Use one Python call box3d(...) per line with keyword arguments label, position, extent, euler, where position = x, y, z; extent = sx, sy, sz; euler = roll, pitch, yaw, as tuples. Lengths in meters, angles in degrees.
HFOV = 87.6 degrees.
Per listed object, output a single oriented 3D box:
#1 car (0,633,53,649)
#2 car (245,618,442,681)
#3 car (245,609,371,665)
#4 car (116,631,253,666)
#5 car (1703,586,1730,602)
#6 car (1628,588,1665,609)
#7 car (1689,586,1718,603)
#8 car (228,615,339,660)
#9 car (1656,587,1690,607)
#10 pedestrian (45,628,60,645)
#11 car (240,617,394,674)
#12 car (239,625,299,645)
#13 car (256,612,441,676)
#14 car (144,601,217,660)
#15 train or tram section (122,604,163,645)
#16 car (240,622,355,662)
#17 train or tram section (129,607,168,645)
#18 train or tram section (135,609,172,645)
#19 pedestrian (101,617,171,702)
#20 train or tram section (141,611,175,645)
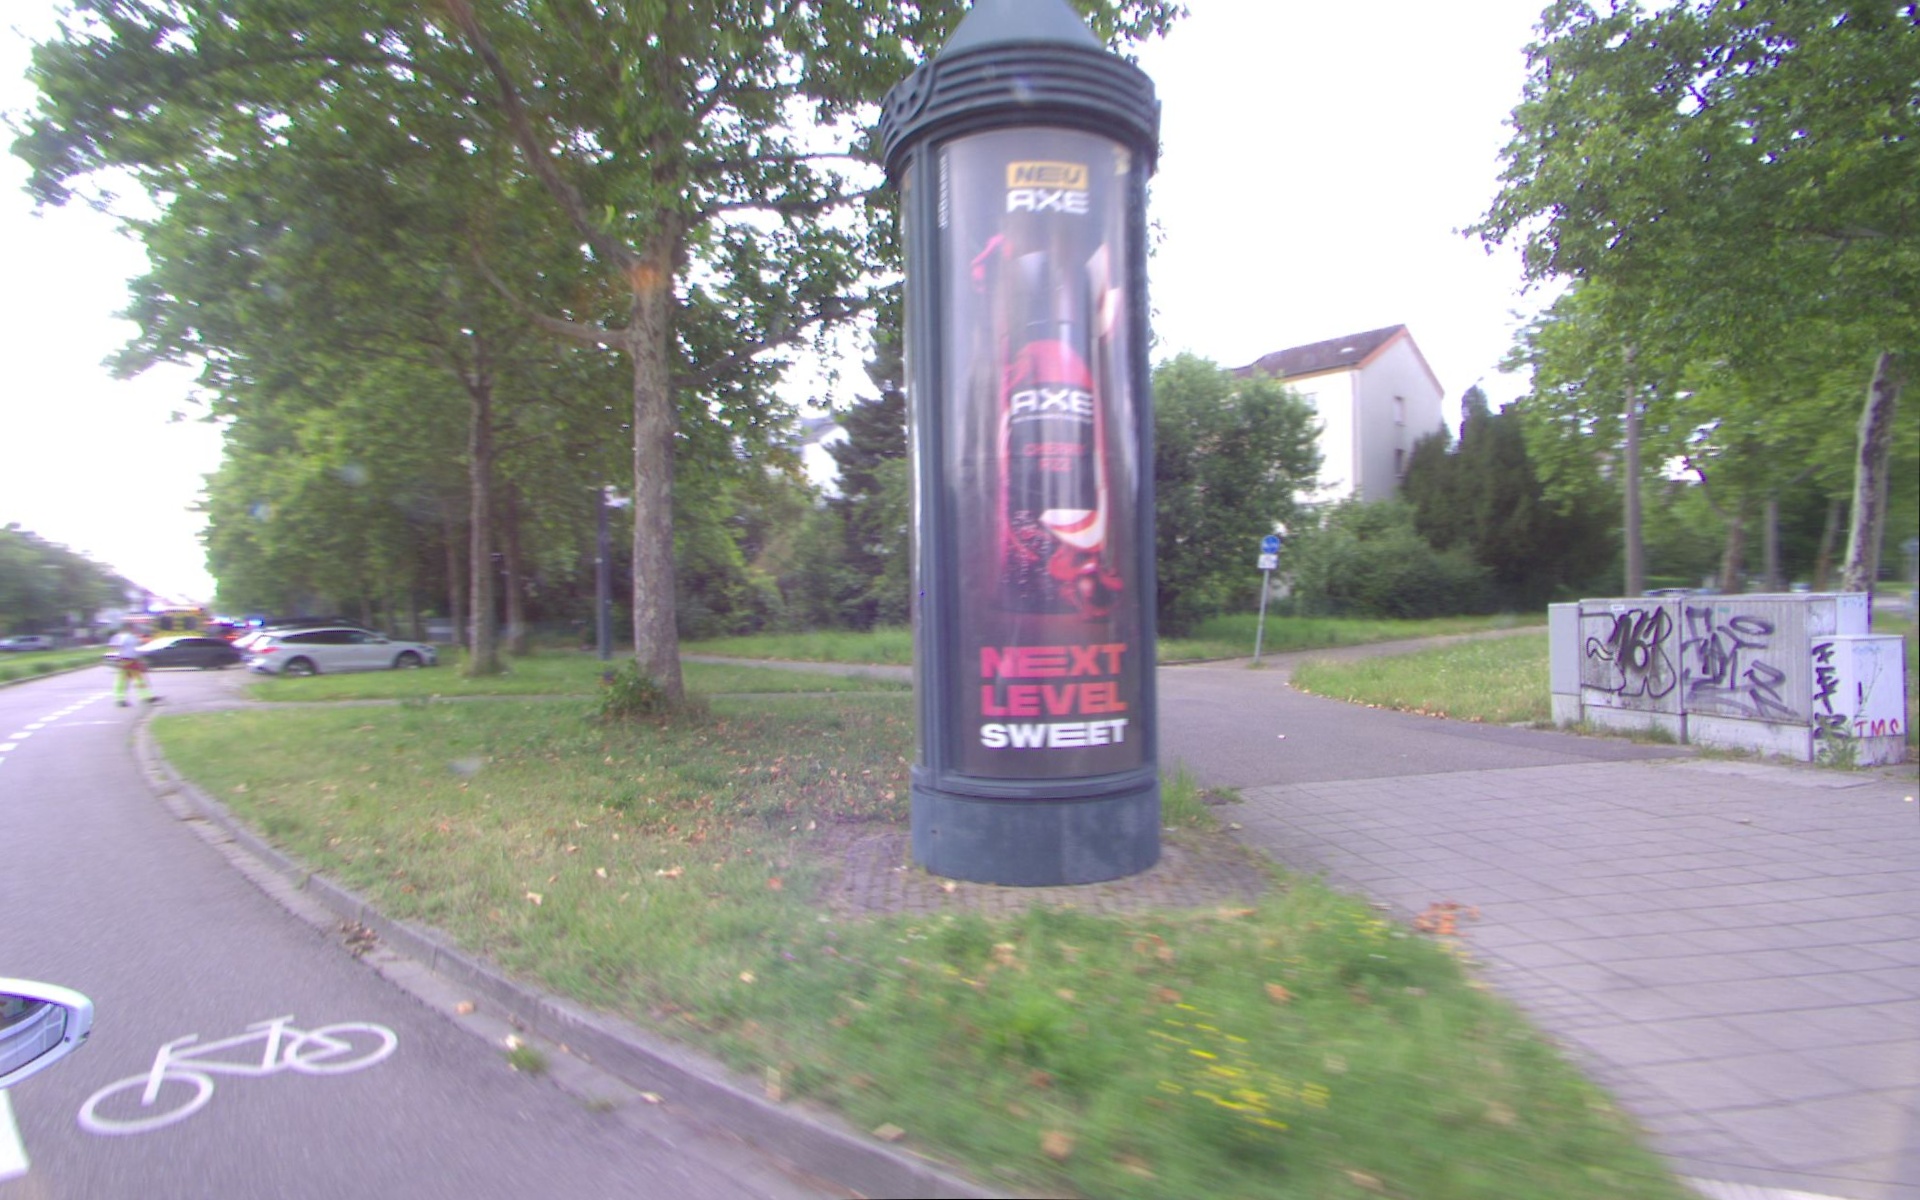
box3d(label="car", position=(-113.201, 4.952, 121.345), extent=(1.849, 1.654, 4.621), euler=(-2, 0, 15))
box3d(label="car", position=(-17.767, 1.368, 28.977), extent=(4.619, 1.493, 1.833), euler=(-3, 1, -40))
box3d(label="car", position=(-28.824, 1.604, 44.335), extent=(4.503, 2.152, 1.843), euler=(-3, 1, -37))
box3d(label="car", position=(-33.644, 2.071, 43.541), extent=(1.746, 1.403, 4.435), euler=(-1, -2, 39))
box3d(label="car", position=(70.131, -0.569, 92.826), extent=(1.661, 1.409, 3.276), euler=(-2, 0, 43))
box3d(label="car", position=(47.437, -0.104, 69.185), extent=(1.661, 1.409, 3.276), euler=(-2, 0, 43))
box3d(label="car", position=(64.685, -0.507, 87.093), extent=(1.661, 1.409, 3.276), euler=(-2, 0, 43))
box3d(label="car", position=(-34.549, 1.877, 51.192), extent=(4.507, 2.027, 1.841), euler=(-3, 1, -40))
box3d(label="car", position=(53.906, -0.225, 75.647), extent=(1.661, 1.409, 3.276), euler=(-2, 0, 43))
box3d(label="pedestrian", position=(-81.202, 3.272, 89.585), extent=(0.873, 1.545, 0.746), euler=(0, -2, -36))
box3d(label="car", position=(-22.243, 1.523, 34.760), extent=(4.336, 1.661, 1.745), euler=(-3, 0, -34))
box3d(label="car", position=(-64.850, 3.259, 93.999), extent=(4.508, 1.630, 1.841), euler=(-3, 0, -40))
box3d(label="car", position=(-18.827, 1.300, 30.959), extent=(4.619, 1.647, 1.833), euler=(-3, 1, -40))
box3d(label="car", position=(-41.898, 1.668, 53.986), extent=(2.616, 3.003, 6.260), euler=(2, -2, -34))
box3d(label="train or tram section", position=(-78.756, 2.397, 96.550), extent=(2.488, 3.631, 7.395), euler=(-3, 0, -36))
box3d(label="car", position=(-32.663, 2.036, 49.447), extent=(4.509, 1.682, 1.840), euler=(-3, 0, -41))
box3d(label="train or tram section", position=(-83.057, 2.690, 102.544), extent=(2.488, 3.631, 7.395), euler=(-3, 0, -36))
box3d(label="train or tram section", position=(-87.360, 2.984, 108.553), extent=(2.488, 3.631, 7.395), euler=(-3, 0, -36))
box3d(label="pedestrian", position=(-17.094, 1.209, 20.796), extent=(0.835, 1.708, 0.805), euler=(-1, 0, -14))
box3d(label="train or tram section", position=(-91.620, 3.276, 114.515), extent=(2.488, 3.631, 7.395), euler=(-3, 0, -36))
